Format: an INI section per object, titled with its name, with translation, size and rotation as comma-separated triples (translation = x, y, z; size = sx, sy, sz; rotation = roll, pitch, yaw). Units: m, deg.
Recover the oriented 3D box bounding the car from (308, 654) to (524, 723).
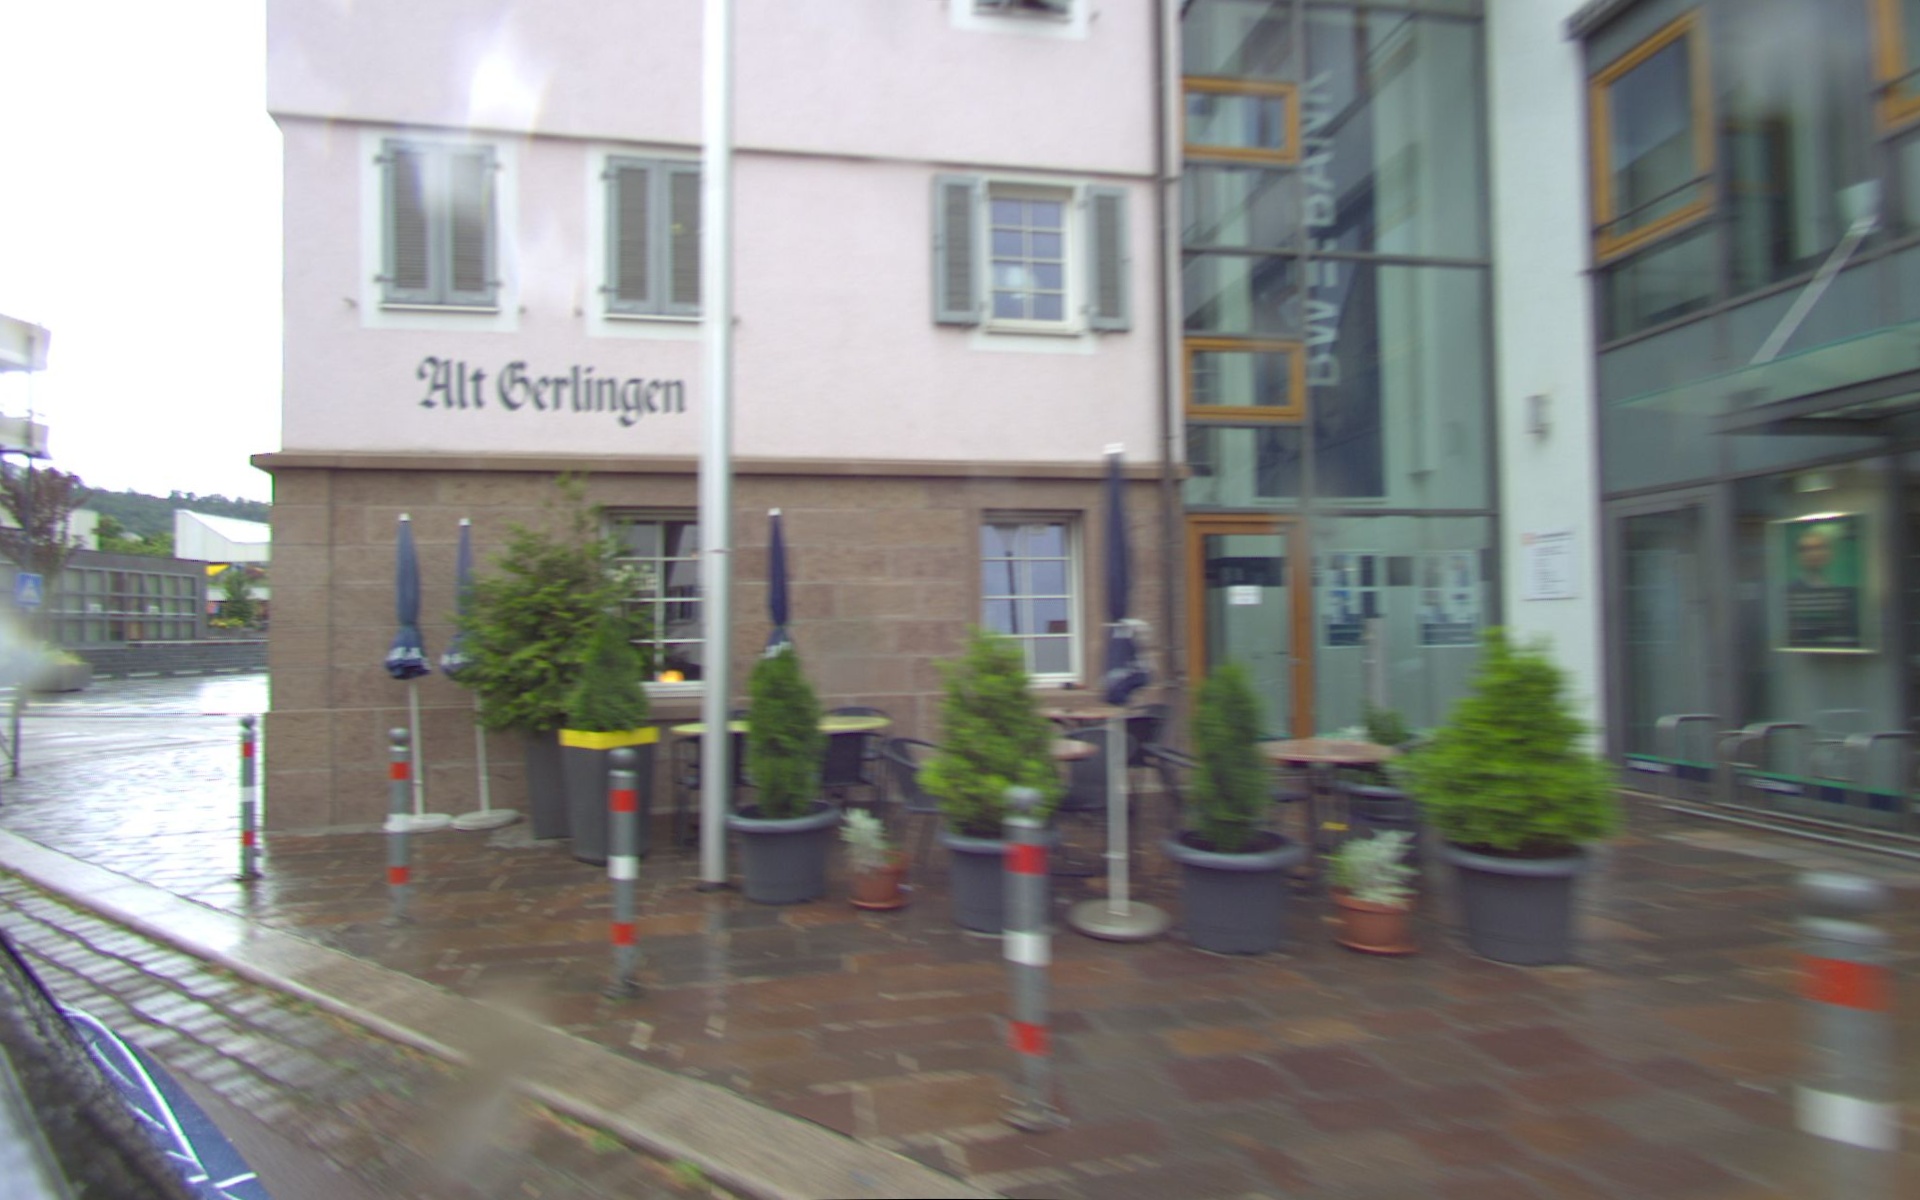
[car]
translation = -12.090, 1.969, 22.792
size = 3.932, 1.428, 1.881
rotation = 2, -3, -17
